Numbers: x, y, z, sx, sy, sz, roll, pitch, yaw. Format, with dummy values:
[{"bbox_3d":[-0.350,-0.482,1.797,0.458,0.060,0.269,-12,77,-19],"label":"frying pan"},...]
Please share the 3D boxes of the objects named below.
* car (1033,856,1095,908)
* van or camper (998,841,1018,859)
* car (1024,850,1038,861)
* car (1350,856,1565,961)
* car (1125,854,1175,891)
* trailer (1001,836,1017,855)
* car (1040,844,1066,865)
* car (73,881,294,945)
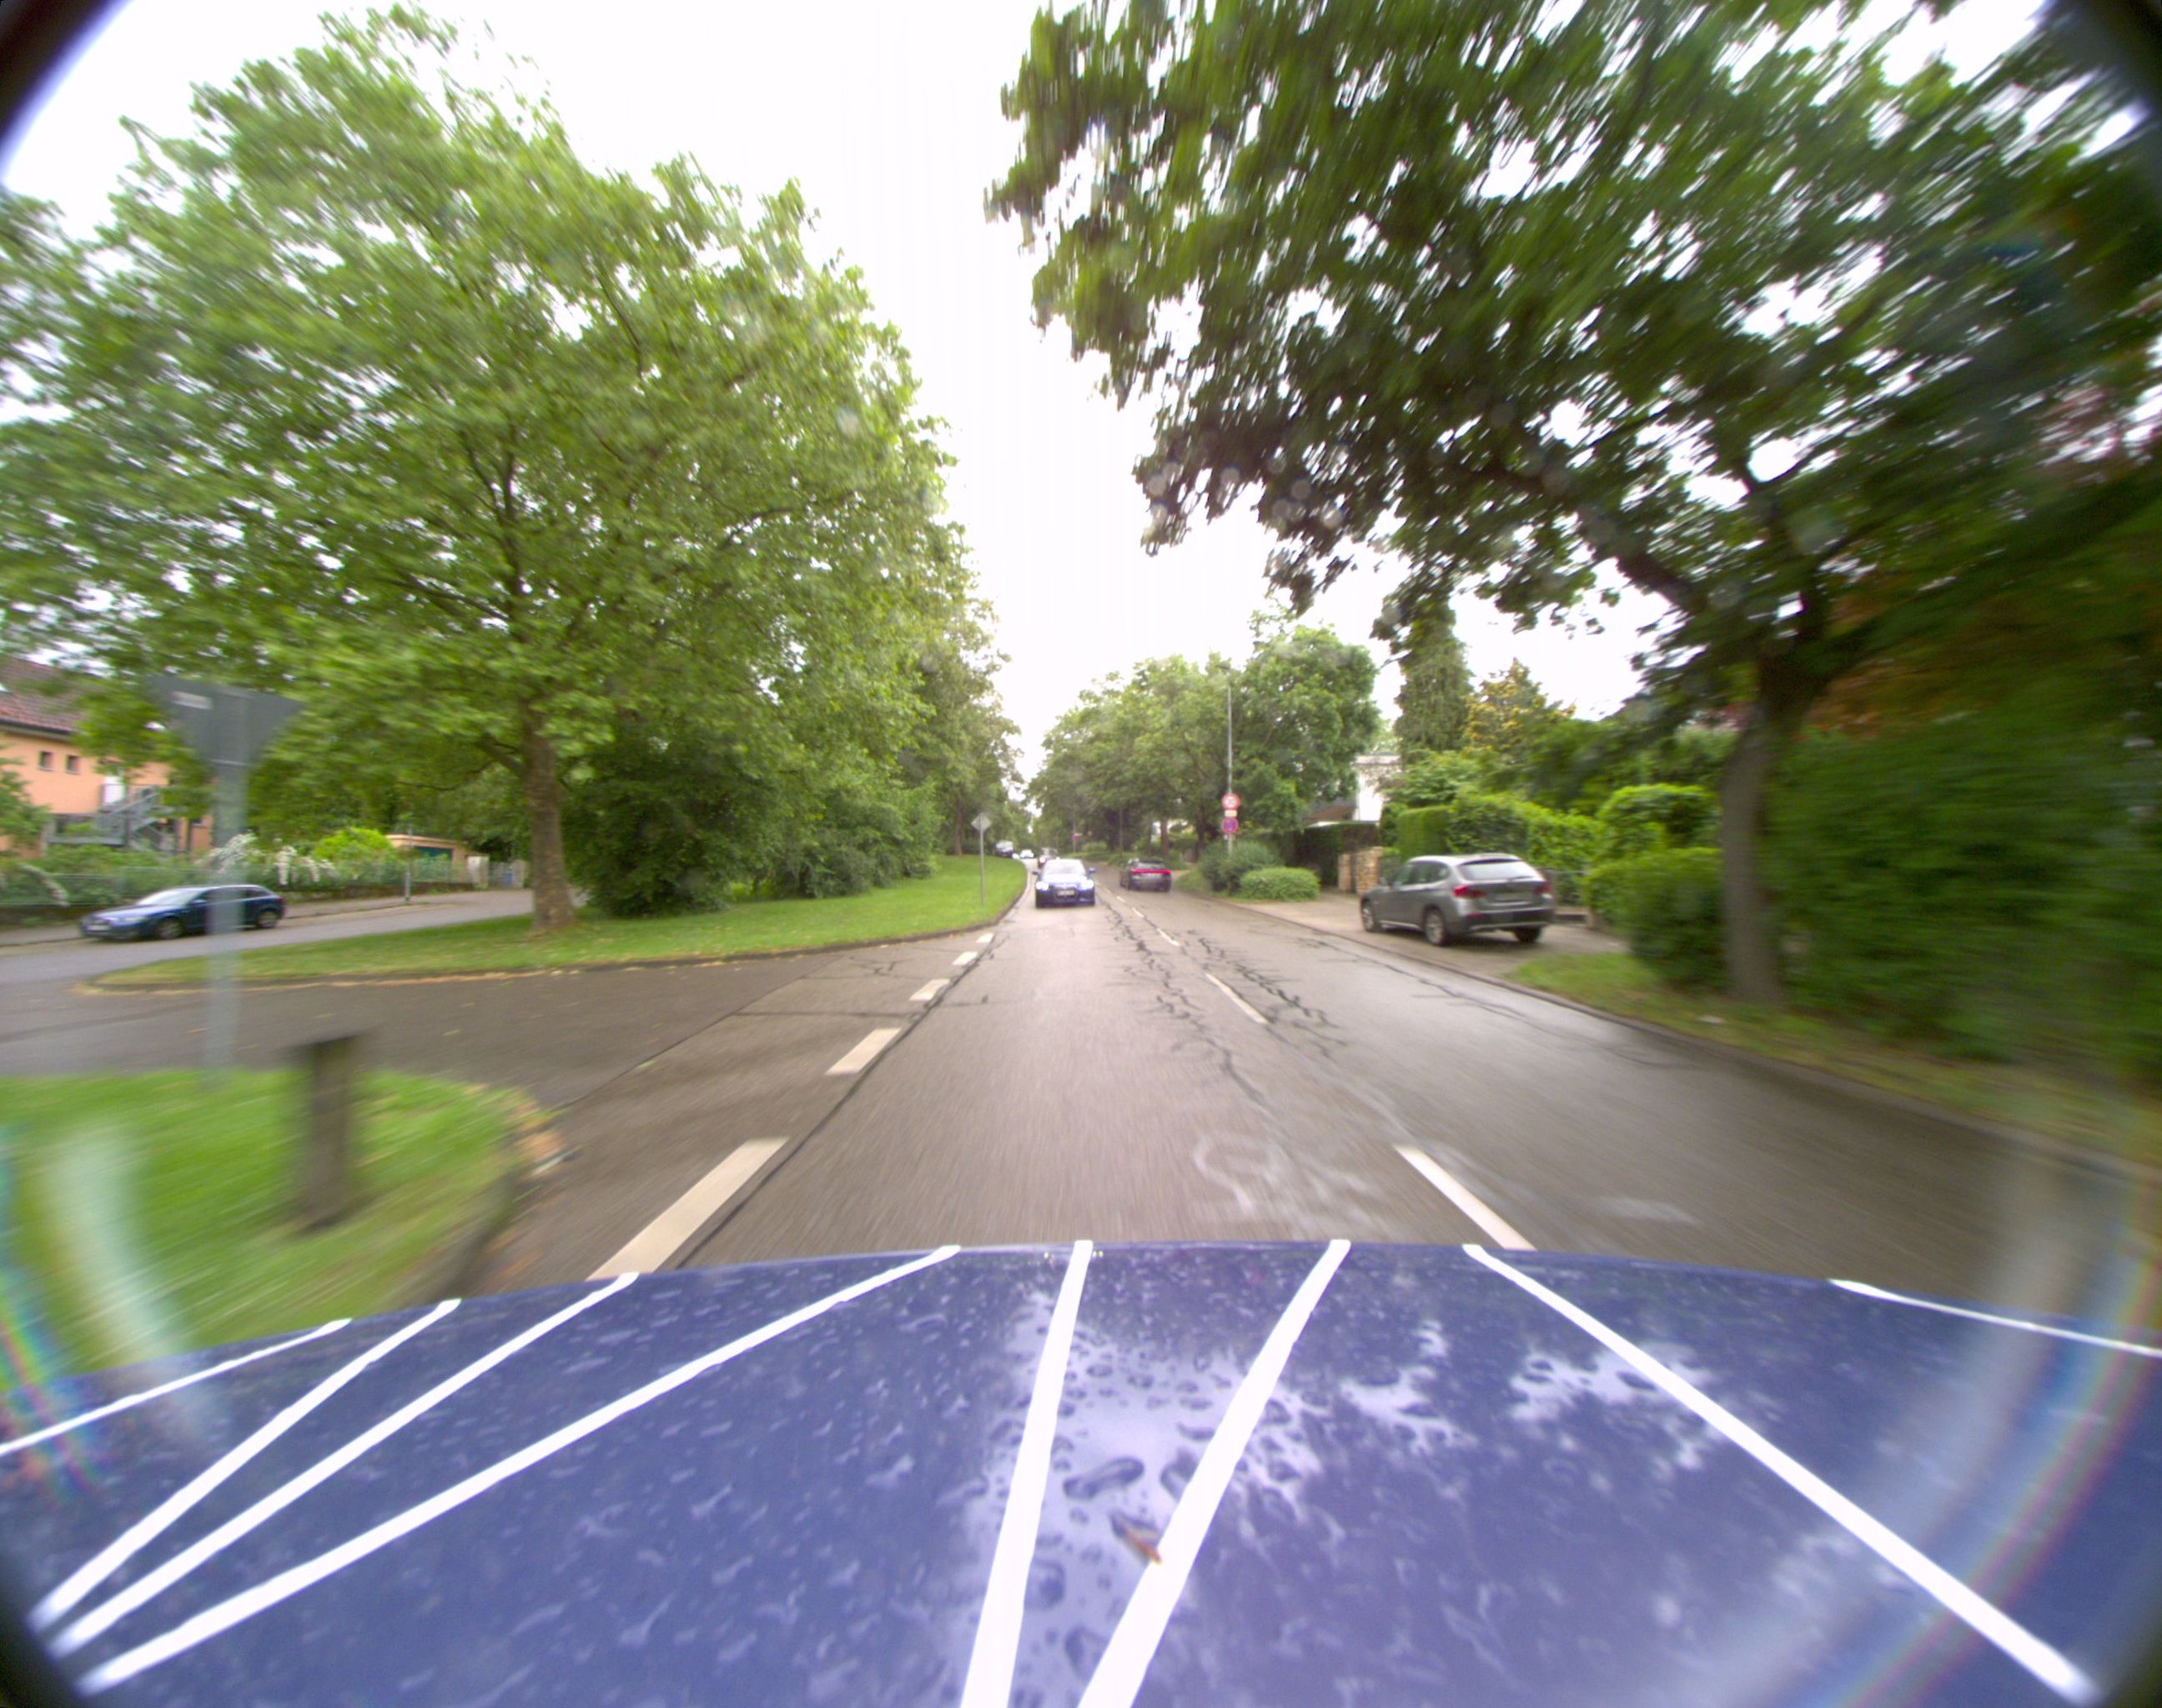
[{"bbox_3d":[-0.504,0.846,24.977,1.796,1.459,4.509,-2,0,0],"label":"car"},{"bbox_3d":[-7.834,-0.461,81.651,1.999,1.858,5.661,0,1,-5],"label":"van or camper"},{"bbox_3d":[-7.726,0.239,117.244,1.678,1.542,3.833,1,-1,3],"label":"car"},{"bbox_3d":[6.683,0.855,14.077,1.668,1.533,4.283,-4,0,-2],"label":"car"},{"bbox_3d":[3.010,0.761,33.779,1.694,1.388,4.489,3,1,-1],"label":"car"},{"bbox_3d":[-8.187,-0.998,86.541,1.701,2.042,3.949,0,1,-5],"label":"trailer"},{"bbox_3d":[-2.202,0.085,58.808,1.797,1.458,4.509,0,-2,-5],"label":"car"},{"bbox_3d":[-25.833,1.631,22.114,1.648,1.471,4.062,2,1,0],"label":"car"}]
